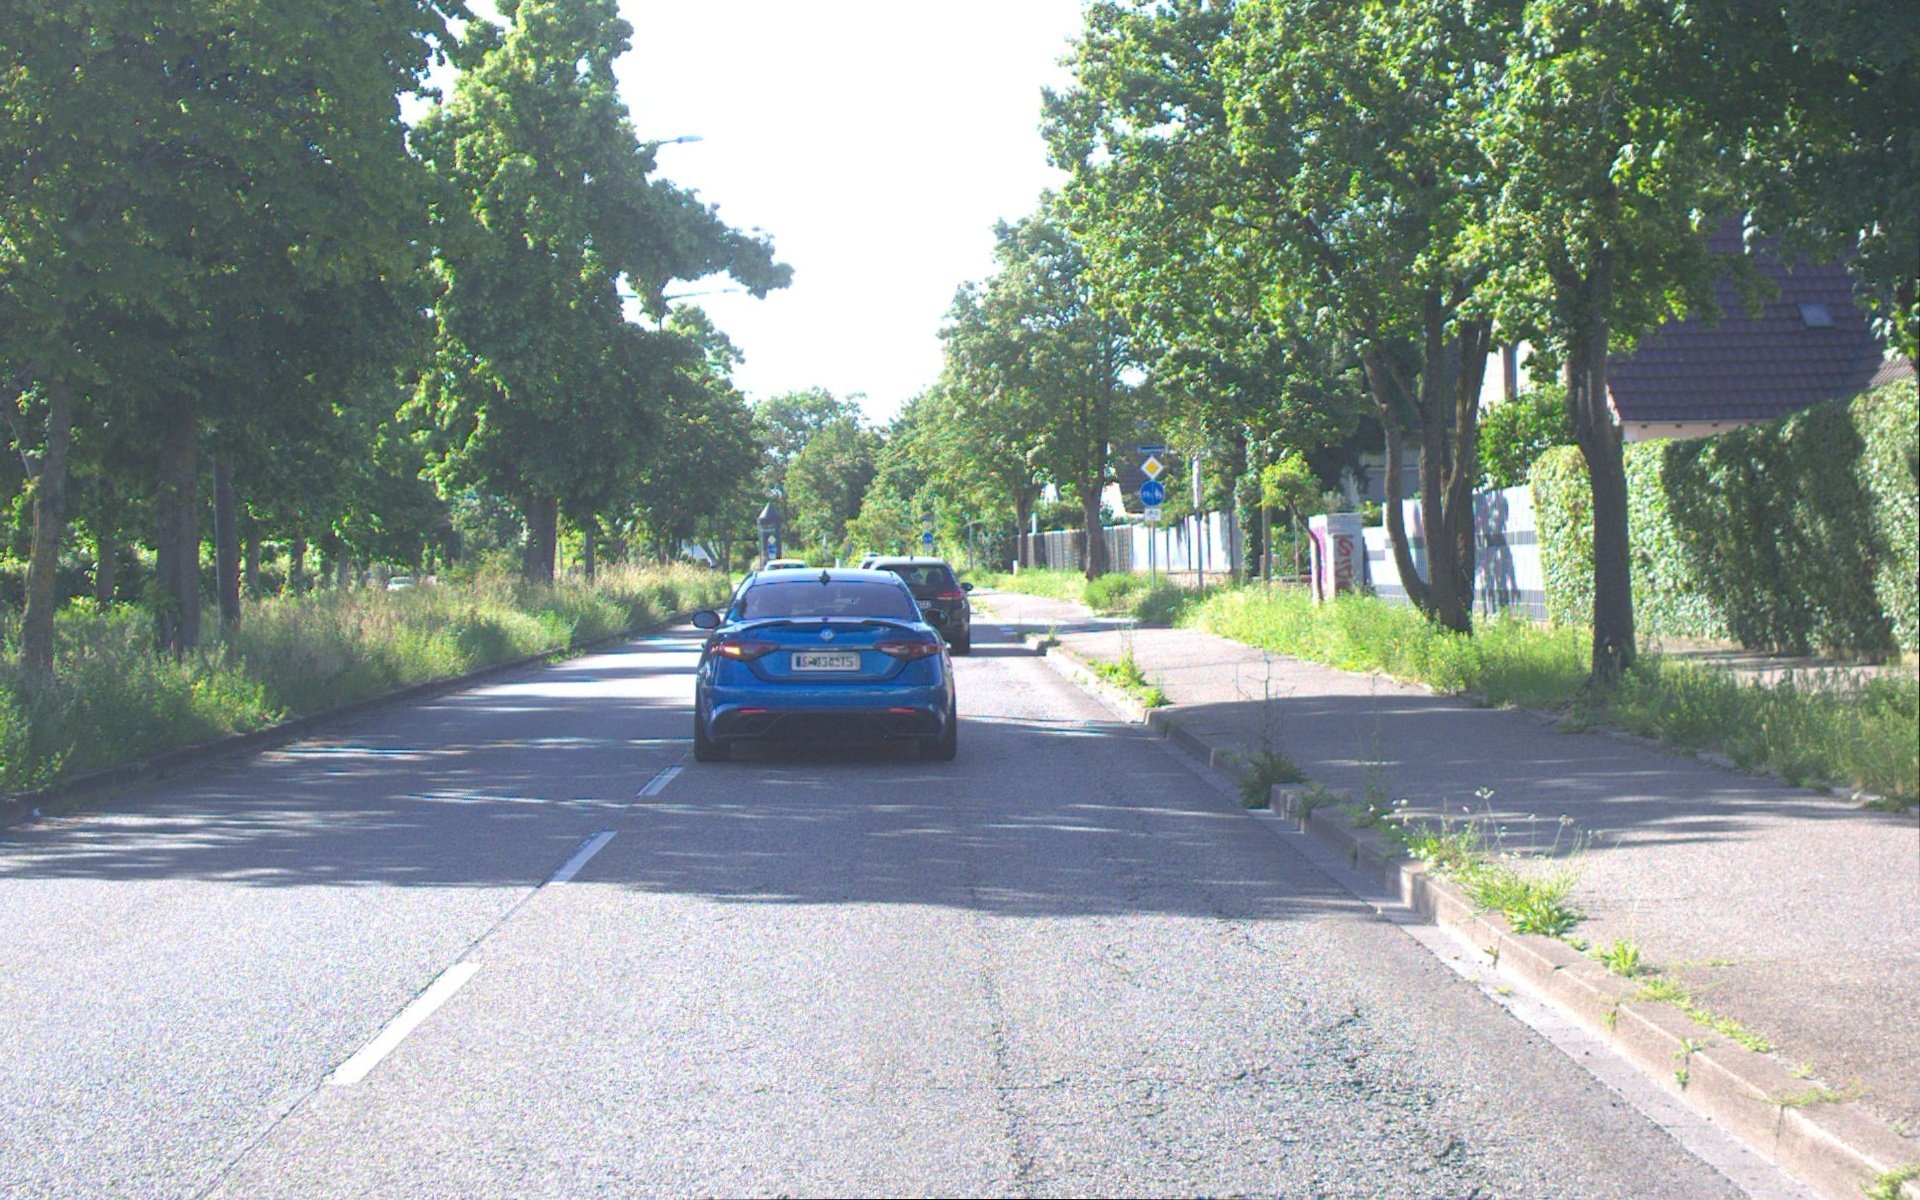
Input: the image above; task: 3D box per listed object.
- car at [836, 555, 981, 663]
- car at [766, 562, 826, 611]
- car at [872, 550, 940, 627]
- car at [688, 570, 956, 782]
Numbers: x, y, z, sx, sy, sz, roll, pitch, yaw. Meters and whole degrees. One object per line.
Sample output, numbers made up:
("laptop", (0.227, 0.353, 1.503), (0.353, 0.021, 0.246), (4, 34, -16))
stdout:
("car", (-0.838, 0.112, 53.290), (1.915, 1.574, 4.183), (-1, 1, -5))
("car", (-5.349, -0.455, 111.937), (1.915, 1.507, 4.068), (-1, 1, -3))
("car", (-1.465, -0.338, 94.830), (1.793, 2.007, 4.000), (-1, 1, 0))
("car", (-0.968, 0.528, 26.110), (1.838, 1.469, 4.184), (0, 0, 0))
